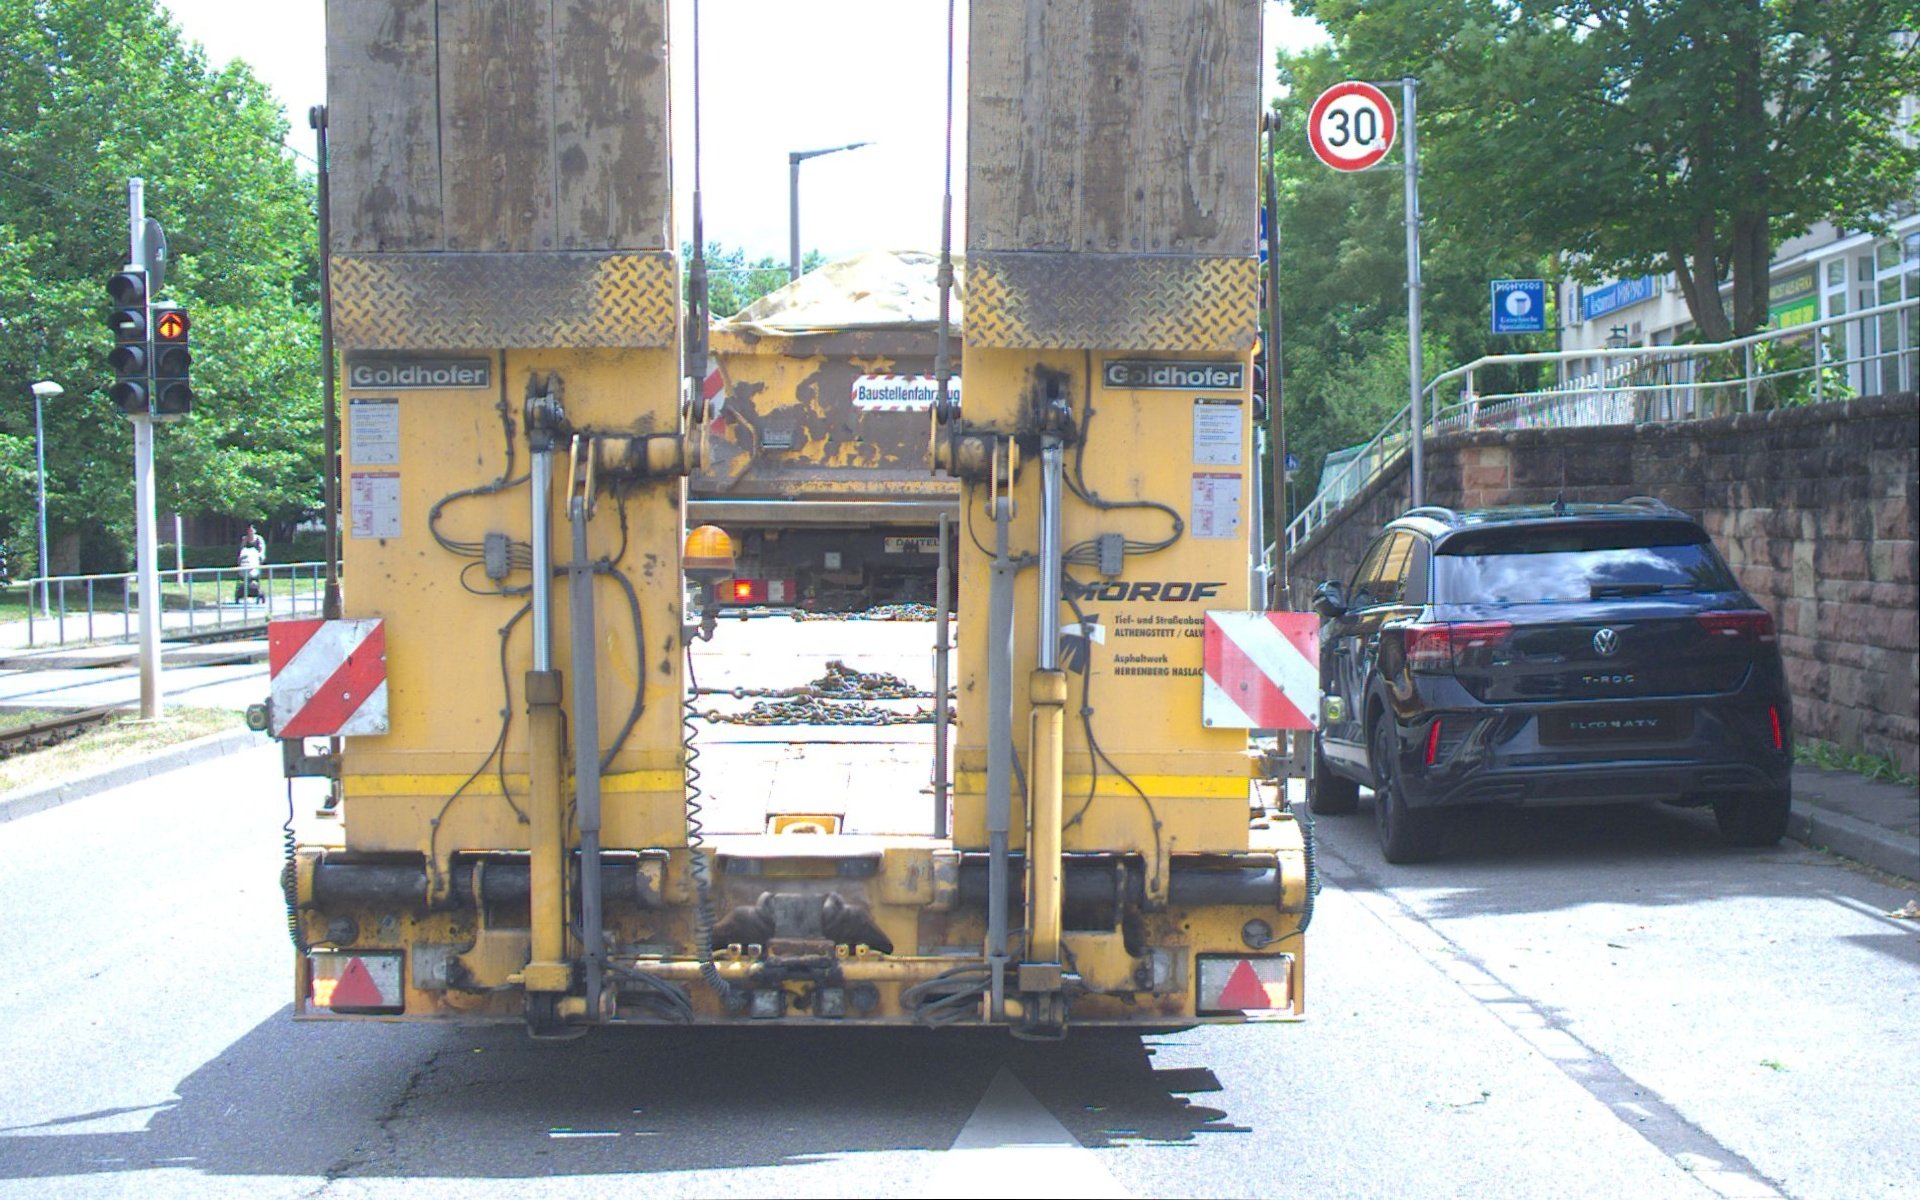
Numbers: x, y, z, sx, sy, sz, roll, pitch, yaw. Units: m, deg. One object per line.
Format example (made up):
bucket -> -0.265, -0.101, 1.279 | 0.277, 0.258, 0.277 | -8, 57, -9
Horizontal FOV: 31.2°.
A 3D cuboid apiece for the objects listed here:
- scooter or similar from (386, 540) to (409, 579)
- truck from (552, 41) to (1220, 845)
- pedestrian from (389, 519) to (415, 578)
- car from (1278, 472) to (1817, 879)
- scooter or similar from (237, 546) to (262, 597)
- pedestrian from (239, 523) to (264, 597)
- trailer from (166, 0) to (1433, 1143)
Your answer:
scooter or similar -> -14.431, -1.043, 88.199 | 0.505, 0.968, 0.646 | 1, 1, -1
truck -> -0.335, -0.759, 17.841 | 2.942, 3.560, 4.877 | -1, 1, 0
pedestrian -> -14.417, -1.326, 88.848 | 0.563, 1.508, 0.646 | 1, 1, -1
car -> 2.642, 0.273, 16.363 | 1.851, 1.633, 4.000 | -2, 1, 0
scooter or similar -> -14.798, -0.593, 71.624 | 0.338, 1.054, 0.687 | -1, 1, 2
pedestrian -> -14.898, -0.840, 72.272 | 0.348, 1.531, 0.557 | -1, 1, 3
trailer -> -0.354, -0.634, 12.423 | 2.945, 3.589, 8.684 | -1, 1, 0
